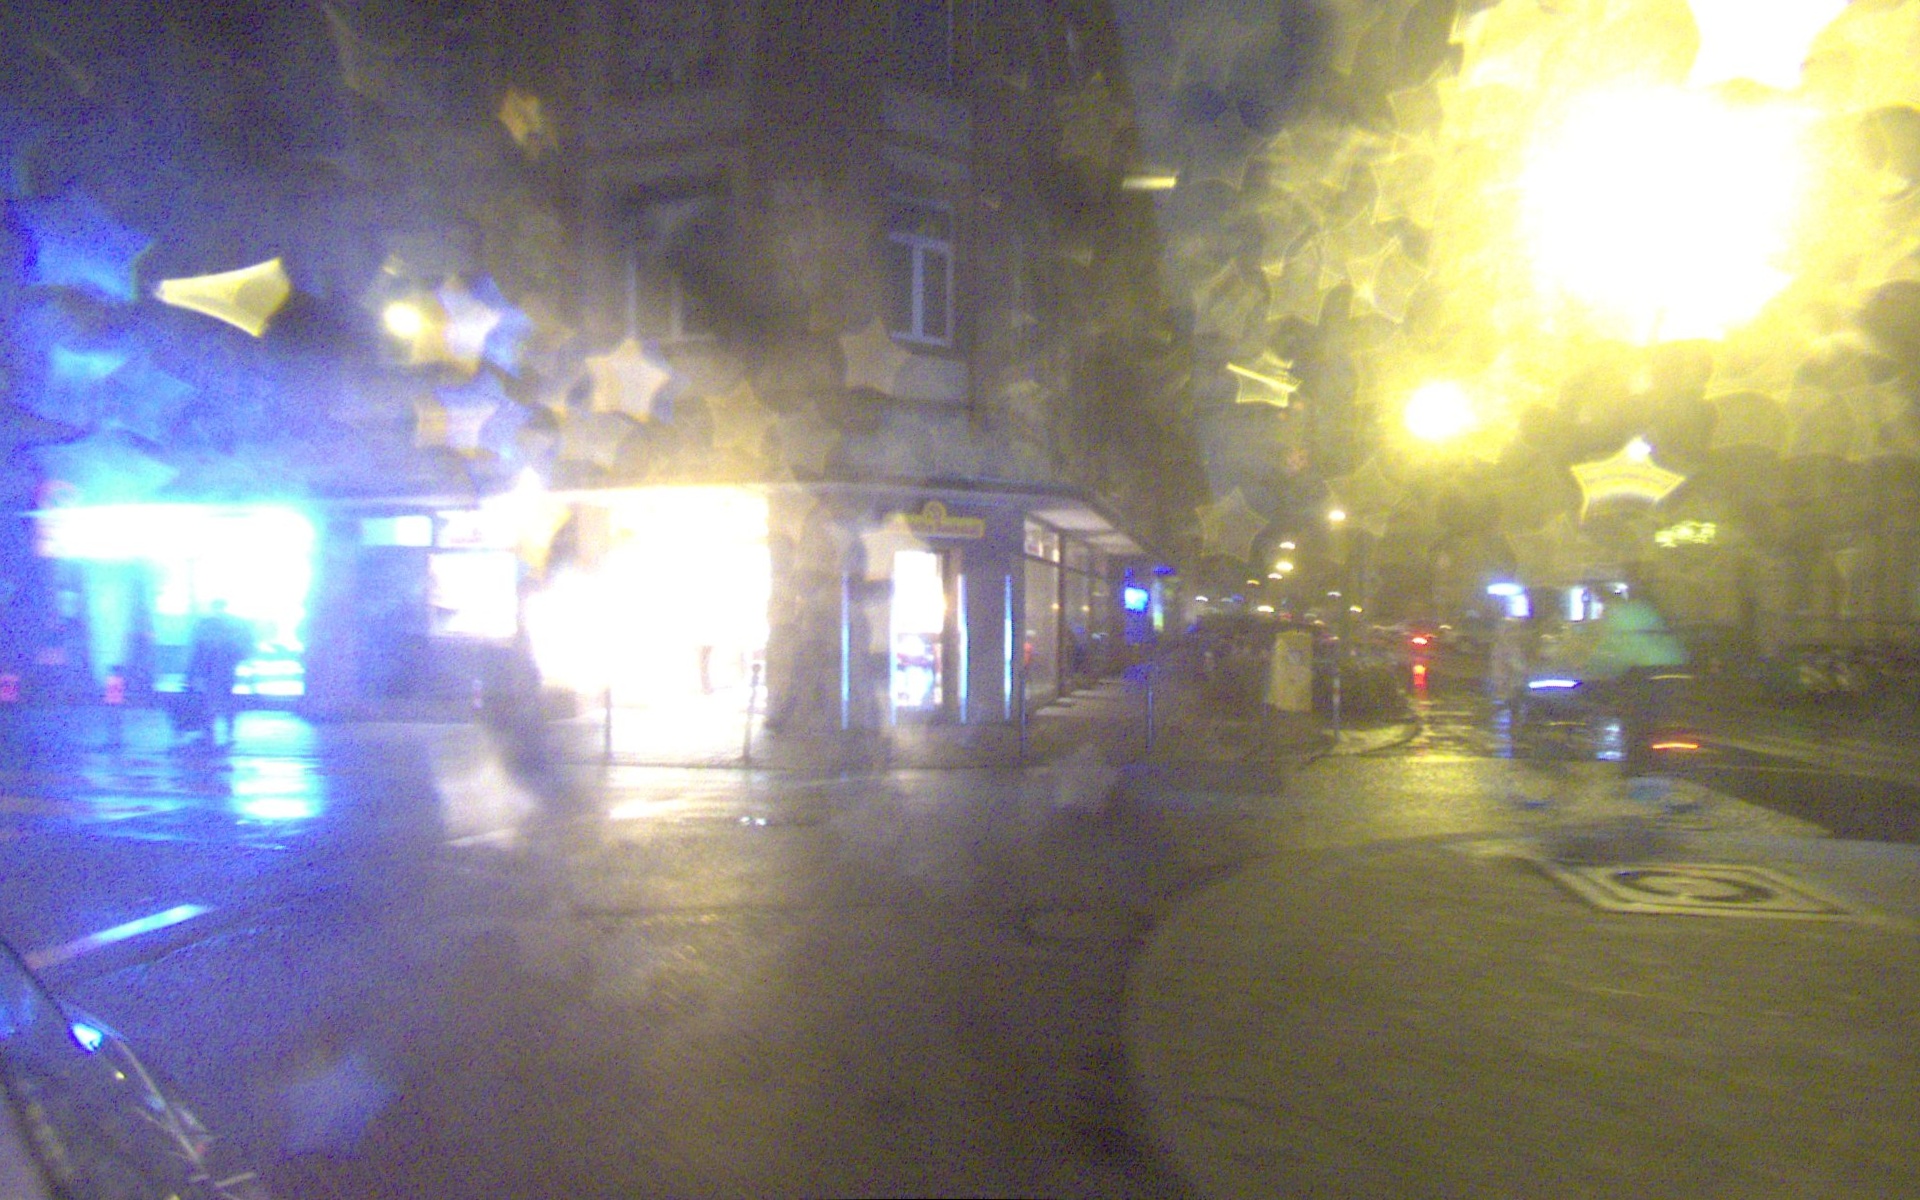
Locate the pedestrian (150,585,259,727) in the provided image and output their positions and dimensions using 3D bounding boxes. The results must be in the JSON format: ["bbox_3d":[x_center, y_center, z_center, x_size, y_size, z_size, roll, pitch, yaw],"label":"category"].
[{"bbox_3d":[-10.176,0.726,13.645,1.068,1.846,0.673,0,0,17],"label":"pedestrian"}]

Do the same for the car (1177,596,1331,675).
[{"bbox_3d":[8.134,0.930,28.035,3.968,2.029,1.988,0,1,19],"label":"car"}]

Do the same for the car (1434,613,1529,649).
[{"bbox_3d":[23.992,1.441,46.678,3.641,1.640,1.582,-1,-2,18],"label":"car"}]

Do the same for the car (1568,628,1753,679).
[{"bbox_3d":[18.514,1.409,26.933,3.689,1.285,1.582,-1,-2,18],"label":"car"}]

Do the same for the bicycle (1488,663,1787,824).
[{"bbox_3d":[5.082,1.043,7.753,1.792,1.067,0.708,-1,-2,26],"label":"bicycle"}]

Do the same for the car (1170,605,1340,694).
[{"bbox_3d":[7.430,1.179,25.547,3.968,2.029,1.988,0,1,19],"label":"car"}]

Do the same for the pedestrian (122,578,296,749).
[{"bbox_3d":[-8.725,0.714,11.790,1.401,1.877,0.954,0,-1,14],"label":"pedestrian"}]

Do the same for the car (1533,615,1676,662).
[{"bbox_3d":[20.083,1.208,31.685,3.432,1.414,1.582,-1,-2,18],"label":"car"}]

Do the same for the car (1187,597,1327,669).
[{"bbox_3d":[9.008,0.951,30.720,3.968,2.029,1.988,0,1,19],"label":"car"}]

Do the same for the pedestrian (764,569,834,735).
[{"bbox_3d":[-1.927,0.615,12.146,0.622,1.923,0.651,-1,-2,15],"label":"pedestrian"}]

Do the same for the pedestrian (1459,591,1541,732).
[{"bbox_3d":[7.447,0.837,13.995,0.942,1.872,0.791,-1,-3,28],"label":"pedestrian"}]

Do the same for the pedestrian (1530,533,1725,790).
[{"bbox_3d":[5.068,0.450,7.774,1.119,1.825,0.708,-1,-2,26],"label":"pedestrian"}]
